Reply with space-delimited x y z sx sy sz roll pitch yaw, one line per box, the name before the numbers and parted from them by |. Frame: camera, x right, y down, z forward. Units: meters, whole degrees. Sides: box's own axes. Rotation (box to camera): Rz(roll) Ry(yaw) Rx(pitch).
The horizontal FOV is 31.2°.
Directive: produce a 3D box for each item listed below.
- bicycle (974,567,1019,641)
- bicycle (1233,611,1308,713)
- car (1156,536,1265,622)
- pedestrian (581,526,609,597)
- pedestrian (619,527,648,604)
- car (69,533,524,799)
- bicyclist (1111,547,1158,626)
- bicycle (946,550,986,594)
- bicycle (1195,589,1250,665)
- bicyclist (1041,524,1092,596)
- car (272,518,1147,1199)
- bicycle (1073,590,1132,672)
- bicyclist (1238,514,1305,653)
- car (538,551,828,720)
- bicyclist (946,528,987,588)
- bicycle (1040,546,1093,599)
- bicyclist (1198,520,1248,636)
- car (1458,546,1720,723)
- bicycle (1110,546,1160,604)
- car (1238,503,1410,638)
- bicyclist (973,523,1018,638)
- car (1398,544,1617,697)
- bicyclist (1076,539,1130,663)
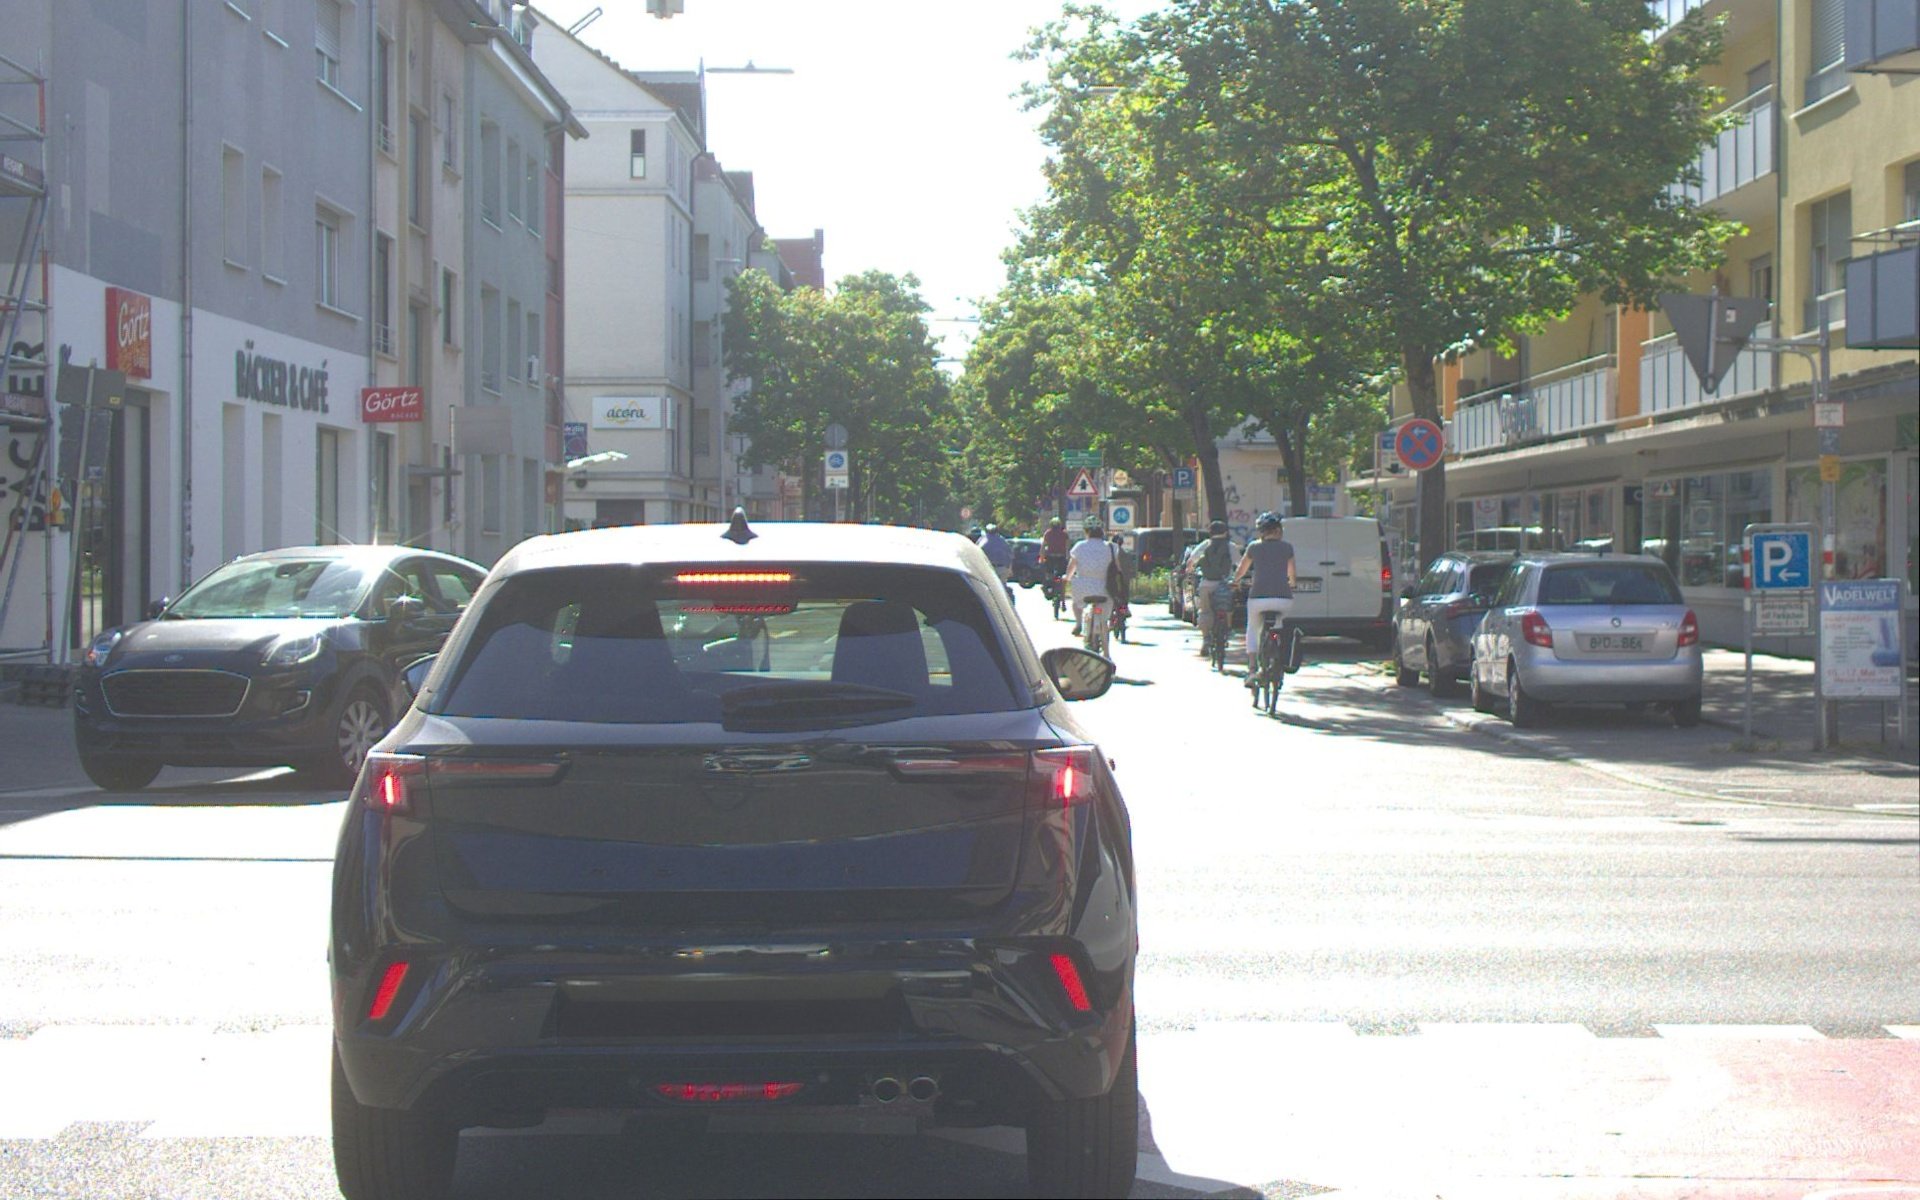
bicycle | 0.536 0.051 50.795 0.632 1.037 1.795 0 1 0
bicycle | 2.835 0.557 31.513 0.547 0.863 1.876 0 1 1
car | 4.450 -0.394 61.417 1.712 1.478 3.381 0 1 0
pedestrian | -7.551 -0.794 71.134 0.577 1.462 0.703 0 1 -5
pedestrian | -6.731 -0.710 70.900 0.577 1.577 0.708 0 1 -5
car | -4.178 0.371 22.301 1.592 1.560 4.088 -1 1 9
bicyclist | 2.663 -0.207 52.529 0.692 1.189 0.595 0 1 1
bicycle | 0.128 -0.644 77.869 0.856 0.941 2.308 2 1 0
bicycle | 3.152 0.315 41.423 0.547 0.863 1.876 0 1 1
bicyclist | 2.010 -0.753 64.836 0.856 1.310 1.210 2 1 0
car | -0.523 0.586 8.950 1.762 1.553 4.000 0 1 0
bicycle | 1.607 0.339 38.898 0.620 0.863 1.876 0 1 1
bicyclist | 2.837 -0.158 31.383 0.547 1.257 0.803 0 1 1
car | -2.516 0.282 32.332 1.805 1.408 4.425 -1 1 7
bicyclist | 0.144 -0.963 77.855 0.856 1.310 1.210 2 1 0
bicycle | 1.999 -0.532 64.805 0.856 0.941 2.308 2 1 0
bicyclist | 3.153 -0.271 41.313 0.547 1.378 0.823 0 1 1
car | 5.573 0.266 30.849 1.712 1.478 3.480 0 1 0
bicycle | 2.657 -0.389 52.326 0.691 0.863 1.876 0 1 1
car | 5.160 -0.450 49.278 2.046 1.840 4.584 0 1 1
bicyclist | 0.524 -0.296 50.625 0.632 1.663 1.050 0 1 0
car | 5.590 0.175 35.443 1.712 1.478 3.381 0 1 0
bicyclist | 1.608 0.008 38.819 0.588 1.378 0.823 0 1 1
